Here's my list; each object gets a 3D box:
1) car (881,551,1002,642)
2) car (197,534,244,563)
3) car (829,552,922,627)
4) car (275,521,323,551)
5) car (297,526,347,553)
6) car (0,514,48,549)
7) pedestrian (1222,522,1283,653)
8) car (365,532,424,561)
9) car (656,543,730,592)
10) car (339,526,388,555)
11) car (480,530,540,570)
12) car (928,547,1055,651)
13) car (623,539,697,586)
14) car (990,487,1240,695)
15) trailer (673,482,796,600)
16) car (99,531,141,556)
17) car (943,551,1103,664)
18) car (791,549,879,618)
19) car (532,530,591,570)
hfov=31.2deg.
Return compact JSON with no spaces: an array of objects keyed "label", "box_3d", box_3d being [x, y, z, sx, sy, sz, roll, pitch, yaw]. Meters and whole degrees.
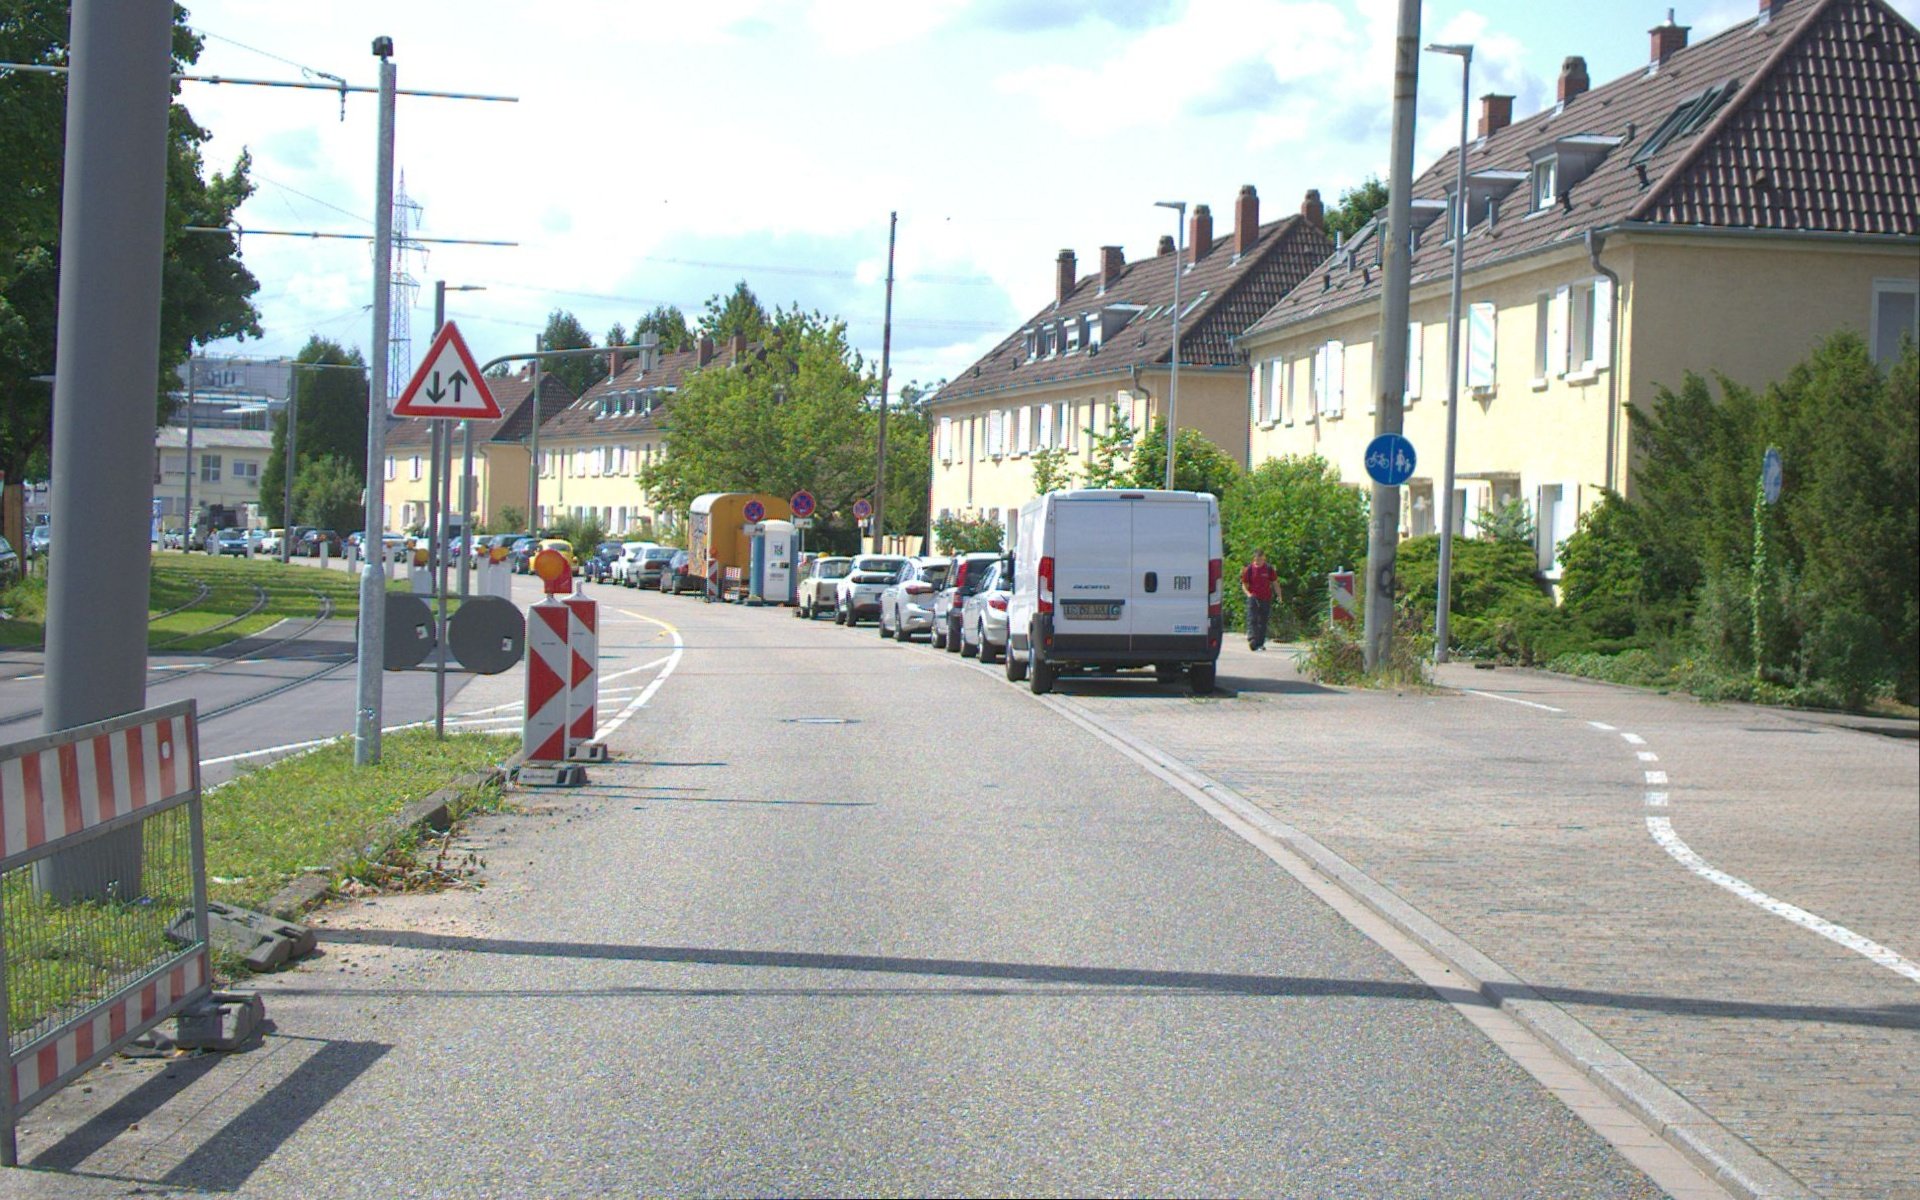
[{"label":"car","box_3d":[-0.360,-0.095,59.825,1.749,1.492,4.386,1,1,-5]},{"label":"car","box_3d":[-38.788,-2.714,180.273,1.665,1.444,3.960,-1,2,-23]},{"label":"car","box_3d":[-1.782,-0.240,71.630,1.527,1.476,3.810,1,1,-7]},{"label":"car","box_3d":[-36.671,-3.545,190.695,1.763,1.637,4.001,0,2,-24]},{"label":"car","box_3d":[-34.544,-3.291,186.067,1.763,1.412,4.001,0,2,-24]},{"label":"car","box_3d":[-43.869,-3.219,160.701,1.810,1.581,4.569,0,2,-23]},{"label":"pedestrian","box_3d":[4.592,-0.200,53.957,0.772,2.007,0.762,2,1,-5]},{"label":"car","box_3d":[-28.457,-2.685,172.888,1.798,1.453,4.766,-1,1,-24]},{"label":"car","box_3d":[-8.382,-1.031,107.678,1.577,1.444,4.455,2,1,-14]},{"label":"car","box_3d":[-30.869,-3.079,177.918,1.620,1.412,4.001,0,2,-24]},{"label":"car","box_3d":[-19.319,-2.175,147.568,1.636,1.597,3.933,2,1,-21]},{"label":"car","box_3d":[0.460,-0.038,54.062,1.628,1.544,3.810,1,1,-5]},{"label":"car","box_3d":[-10.101,-1.281,115.433,1.706,1.444,4.837,2,1,-14]},{"label":"car","box_3d":[1.685,-0.150,39.905,2.276,2.175,6.368,1,1,-3]},{"label":"trailer","box_3d":[-6.561,-1.719,99.437,2.689,3.215,5.083,2,1,-13]},{"label":"car","box_3d":[-50.260,-3.392,205.652,1.724,1.384,4.123,1,1,-24]},{"label":"car","box_3d":[0.859,0.074,49.232,1.707,1.499,4.256,1,1,-7]},{"label":"car","box_3d":[-2.856,-0.390,77.911,1.463,1.497,4.110,1,1,-10]},{"label":"car","box_3d":[-15.964,-2.000,137.572,1.636,1.477,3.933,-1,3,-17]}]
